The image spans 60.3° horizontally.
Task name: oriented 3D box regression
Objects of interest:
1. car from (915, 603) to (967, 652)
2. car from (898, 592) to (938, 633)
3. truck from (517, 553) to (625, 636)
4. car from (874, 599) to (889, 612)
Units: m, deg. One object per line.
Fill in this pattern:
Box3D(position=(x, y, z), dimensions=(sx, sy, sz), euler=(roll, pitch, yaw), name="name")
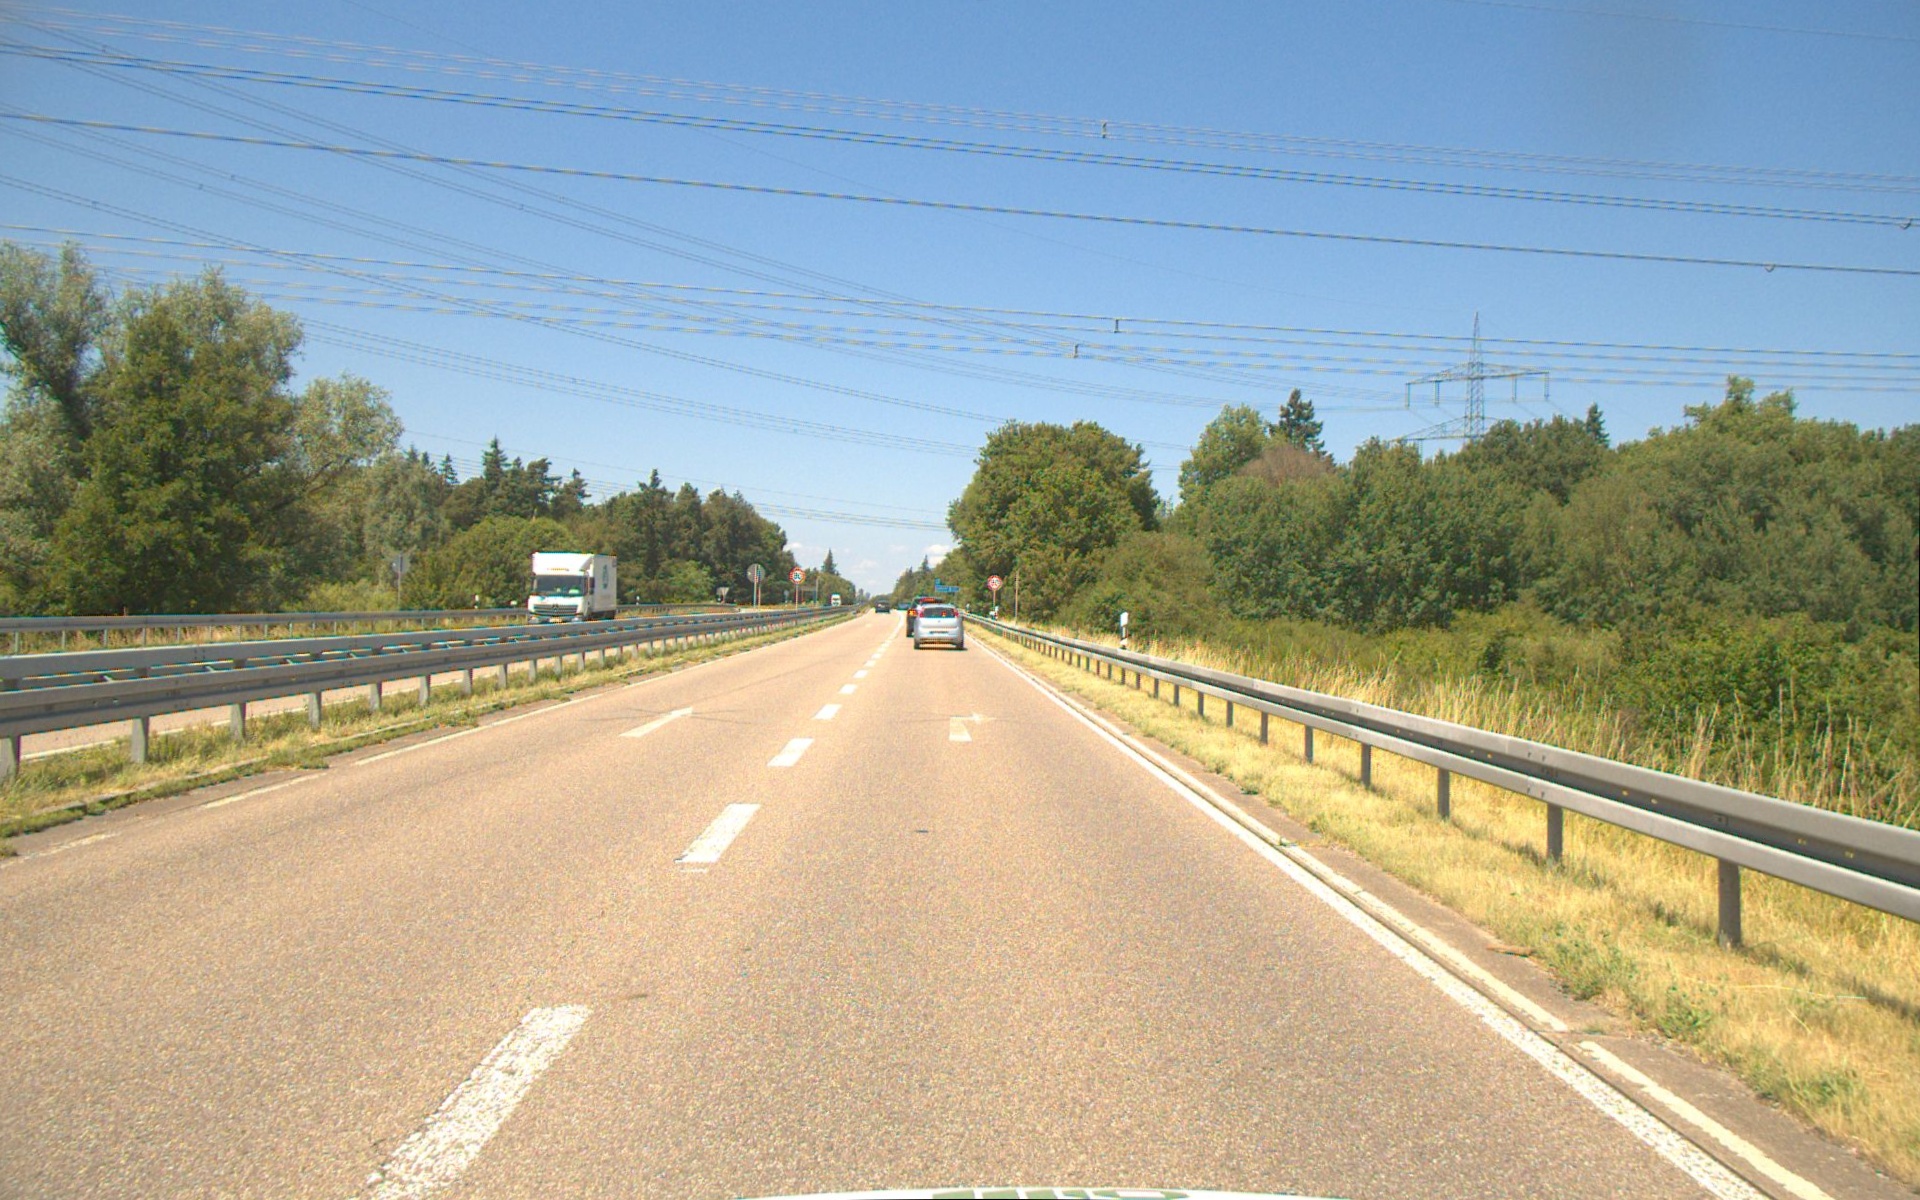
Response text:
Box3D(position=(-0.648, 0.899, 55.037), dimensions=(1.607, 1.493, 3.418), euler=(3, 0, -2), name="car")
Box3D(position=(-1.892, 0.547, 73.653), dimensions=(1.608, 1.682, 3.572), euler=(3, 0, -3), name="car")
Box3D(position=(-16.208, -0.198, 69.505), dimensions=(2.663, 3.249, 8.403), euler=(1, 0, -1), name="truck")
Box3D(position=(-9.436, 0.693, 199.814), dimensions=(1.678, 1.497, 3.572), euler=(3, 0, -2), name="car")
